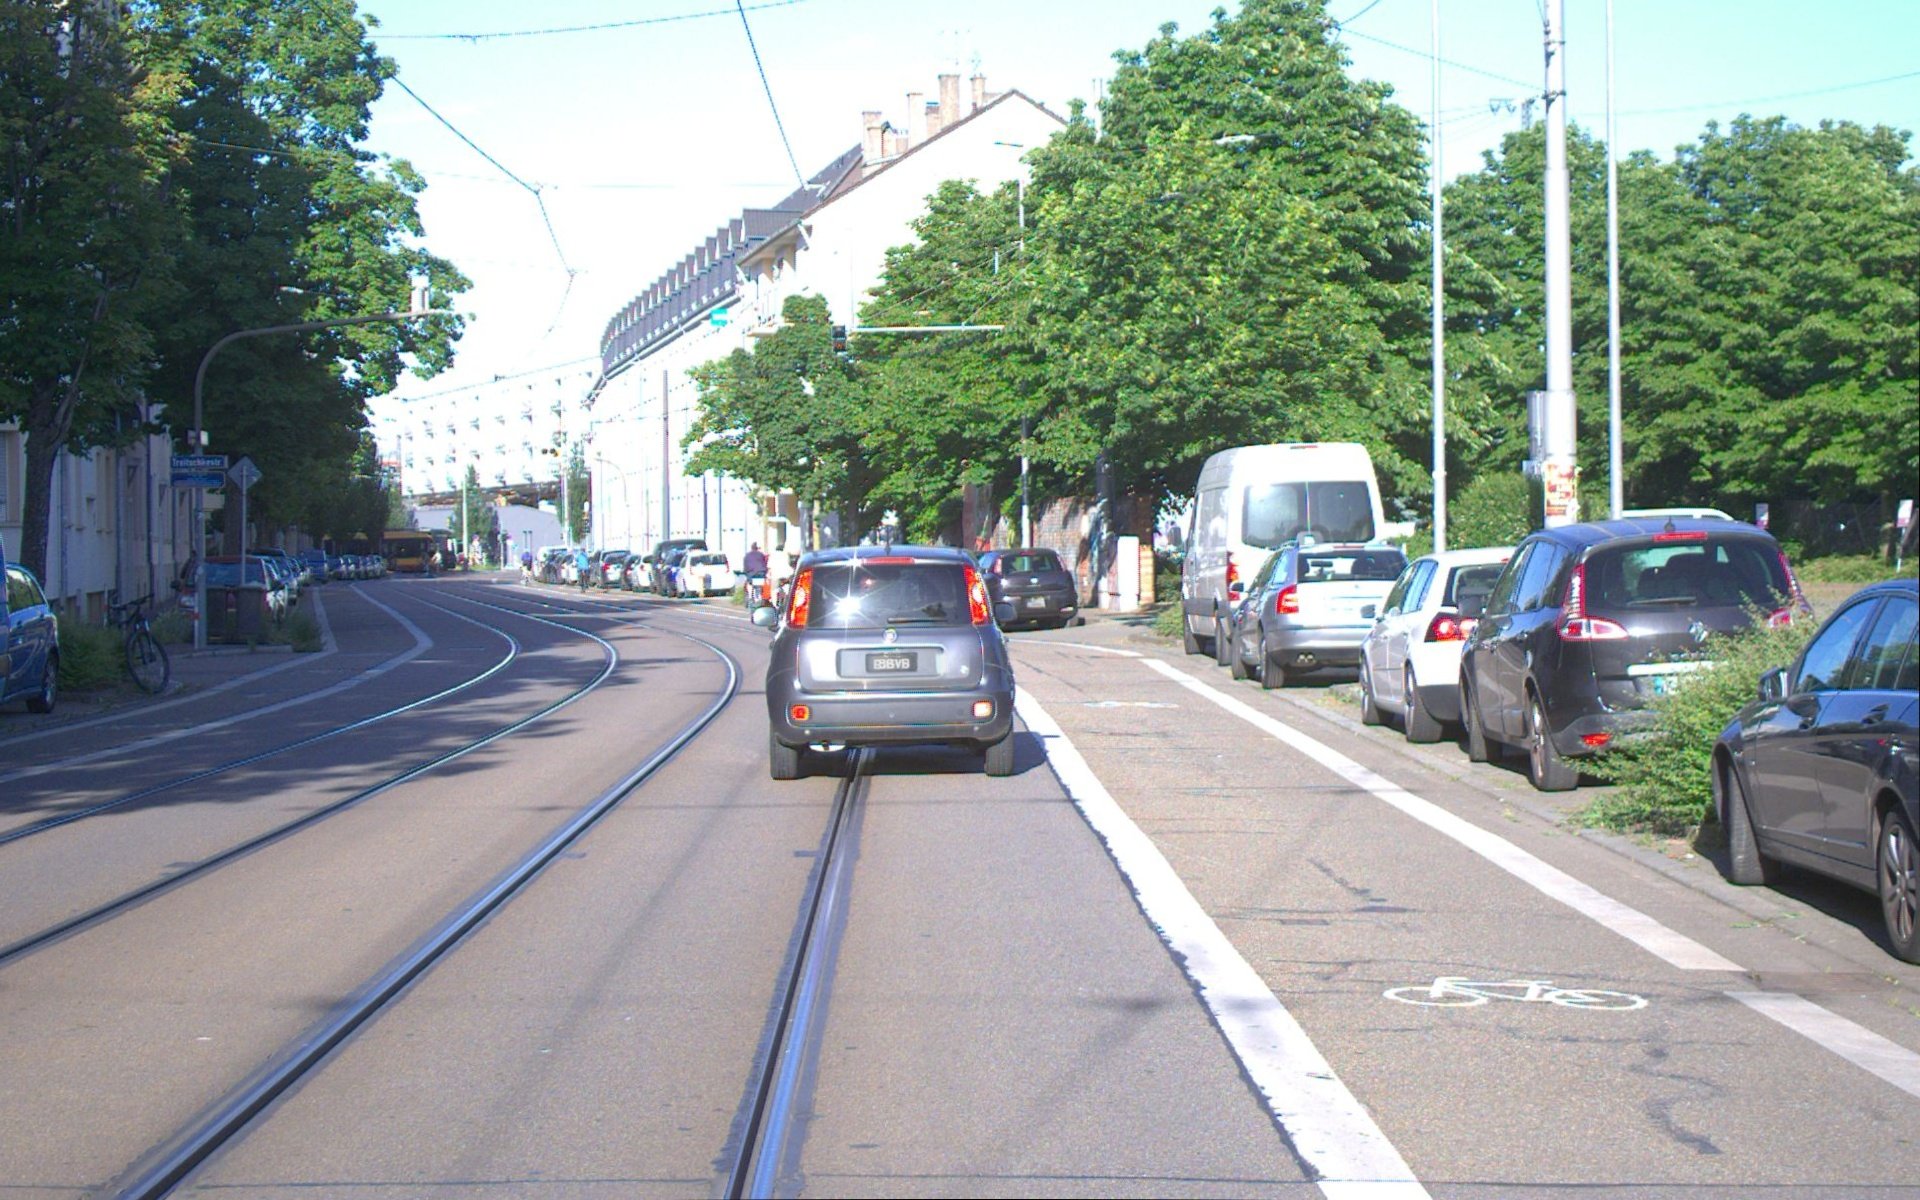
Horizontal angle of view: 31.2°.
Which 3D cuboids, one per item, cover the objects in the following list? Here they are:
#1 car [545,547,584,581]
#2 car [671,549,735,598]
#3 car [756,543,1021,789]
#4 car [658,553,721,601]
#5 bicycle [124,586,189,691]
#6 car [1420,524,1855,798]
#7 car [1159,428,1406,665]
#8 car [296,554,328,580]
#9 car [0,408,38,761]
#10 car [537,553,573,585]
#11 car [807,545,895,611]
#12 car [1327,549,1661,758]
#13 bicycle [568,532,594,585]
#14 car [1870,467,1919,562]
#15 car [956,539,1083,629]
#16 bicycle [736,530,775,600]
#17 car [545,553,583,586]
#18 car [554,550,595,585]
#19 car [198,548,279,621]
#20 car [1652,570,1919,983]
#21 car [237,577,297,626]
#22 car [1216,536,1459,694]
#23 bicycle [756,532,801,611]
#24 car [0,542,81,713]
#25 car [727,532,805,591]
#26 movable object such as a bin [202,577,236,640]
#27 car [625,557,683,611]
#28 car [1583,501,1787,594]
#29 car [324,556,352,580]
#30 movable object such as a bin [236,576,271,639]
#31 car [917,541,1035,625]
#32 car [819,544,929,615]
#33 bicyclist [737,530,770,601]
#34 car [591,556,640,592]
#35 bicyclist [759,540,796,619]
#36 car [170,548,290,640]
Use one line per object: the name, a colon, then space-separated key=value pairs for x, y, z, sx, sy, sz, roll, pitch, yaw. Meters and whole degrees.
car: x=-19.073 y=-1.726 z=165.767 sx=1.582 sy=1.593 sz=3.377 roll=0 pitch=1 yaw=-12
car: x=-8.350 y=-0.871 z=111.602 sx=1.655 sy=1.566 sz=3.500 roll=0 pitch=1 yaw=-11
car: x=-0.486 y=0.389 z=23.865 sx=1.650 sy=1.536 sz=4.235 roll=1 pitch=1 yaw=-1
car: x=-9.132 y=-0.785 z=115.832 sx=1.655 sy=1.566 sz=3.877 roll=0 pitch=1 yaw=-11
bicycle: x=-9.013 y=0.415 z=38.592 sx=0.512 sy=1.130 sz=2.032 roll=0 pitch=1 yaw=-8
car: x=4.271 y=0.337 z=22.354 sx=1.727 sy=1.599 sz=4.343 roll=0 pitch=1 yaw=-3
car: x=3.918 y=-0.653 z=42.939 sx=2.180 sy=2.656 sz=6.092 roll=-3 pitch=1 yaw=-2
car: x=-37.357 y=-1.919 z=198.263 sx=1.706 sy=1.491 sz=3.723 roll=0 pitch=1 yaw=-10
car: x=-8.689 y=-0.110 z=25.517 sx=2.017 sy=2.816 sz=6.032 roll=1 pitch=1 yaw=0
car: x=-20.977 y=-1.601 z=177.893 sx=1.582 sy=1.593 sz=3.377 roll=0 pitch=1 yaw=-12
car: x=-2.670 y=-0.546 z=83.466 sx=1.688 sy=1.525 sz=4.001 roll=-2 pitch=1 yaw=-7
car: x=4.117 y=0.369 z=27.143 sx=1.727 sy=1.507 sz=4.252 roll=0 pitch=1 yaw=-3
bicycle: x=-14.669 y=-1.607 z=132.889 sx=0.741 sy=2.007 sz=2.812 roll=0 pitch=1 yaw=-12
car: x=24.392 y=-2.080 z=82.906 sx=4.186 sy=2.233 sz=2.144 roll=-1 pitch=1 yaw=-13
car: x=1.041 y=-0.311 z=62.243 sx=1.688 sy=1.525 sz=4.001 roll=-2 pitch=1 yaw=-7
bicycle: x=-5.141 y=-0.876 z=86.230 sx=0.675 sy=1.741 sz=2.158 roll=0 pitch=1 yaw=-12
car: x=-19.837 y=-1.528 z=172.038 sx=1.582 sy=1.593 sz=3.377 roll=0 pitch=1 yaw=-12
car: x=-17.868 y=-1.515 z=159.143 sx=1.582 sy=1.593 sz=3.377 roll=0 pitch=1 yaw=-12
car: x=-17.065 y=-0.384 z=81.195 sx=1.651 sy=1.662 sz=4.297 roll=0 pitch=1 yaw=-15
car: x=4.195 y=0.624 z=13.665 sx=1.727 sy=1.459 sz=4.499 roll=0 pitch=1 yaw=-3
car: x=-21.858 y=0.030 z=108.545 sx=1.808 sy=1.503 sz=4.682 roll=0 pitch=1 yaw=-11
car: x=3.902 y=0.120 z=36.294 sx=1.910 sy=1.524 sz=4.601 roll=-1 pitch=1 yaw=-2
bicycle: x=-4.055 y=-0.635 z=76.704 sx=0.675 sy=1.741 sz=2.158 roll=0 pitch=1 yaw=-12
car: x=-9.923 y=0.195 z=32.814 sx=1.791 sy=1.555 sz=4.642 roll=7 pitch=0 yaw=-1
car: x=-5.309 y=-1.058 z=93.668 sx=1.635 sy=1.503 sz=3.398 roll=-3 pitch=1 yaw=-10
movable object such as a bin: x=-11.686 y=0.129 z=54.220 sx=0.484 sy=0.984 sz=0.660 roll=0 pitch=0 yaw=-8
car: x=-11.314 y=-0.597 z=126.867 sx=1.655 sy=1.937 sz=4.666 roll=0 pitch=1 yaw=-11
car: x=16.956 y=-1.235 z=80.502 sx=4.279 sy=2.007 sz=1.774 roll=-2 pitch=1 yaw=-6
car: x=-38.761 y=-2.000 z=214.224 sx=1.706 sy=1.491 sz=3.723 roll=0 pitch=1 yaw=-10
movable object such as a bin: x=-11.160 y=0.117 z=54.306 sx=0.484 sy=0.984 sz=0.660 roll=0 pitch=0 yaw=-8
car: x=0.277 y=-0.339 z=66.910 sx=1.688 sy=1.525 sz=4.356 roll=-2 pitch=1 yaw=-7
car: x=-1.990 y=-0.479 z=78.682 sx=1.688 sy=1.525 sz=4.001 roll=-2 pitch=1 yaw=-13
bicyclist: x=-5.183 y=-0.869 z=86.153 sx=0.699 sy=1.753 sz=0.758 roll=0 pitch=0 yaw=-12
car: x=-14.225 y=-1.080 z=141.729 sx=1.582 sy=1.400 sz=3.377 roll=-4 pitch=1 yaw=-11
bicyclist: x=-4.063 y=-0.462 z=76.640 sx=0.699 sy=1.753 sz=0.758 roll=0 pitch=0 yaw=-12
car: x=-12.553 y=-0.118 z=59.305 sx=1.688 sy=1.525 sz=4.001 roll=0 pitch=1 yaw=-7
